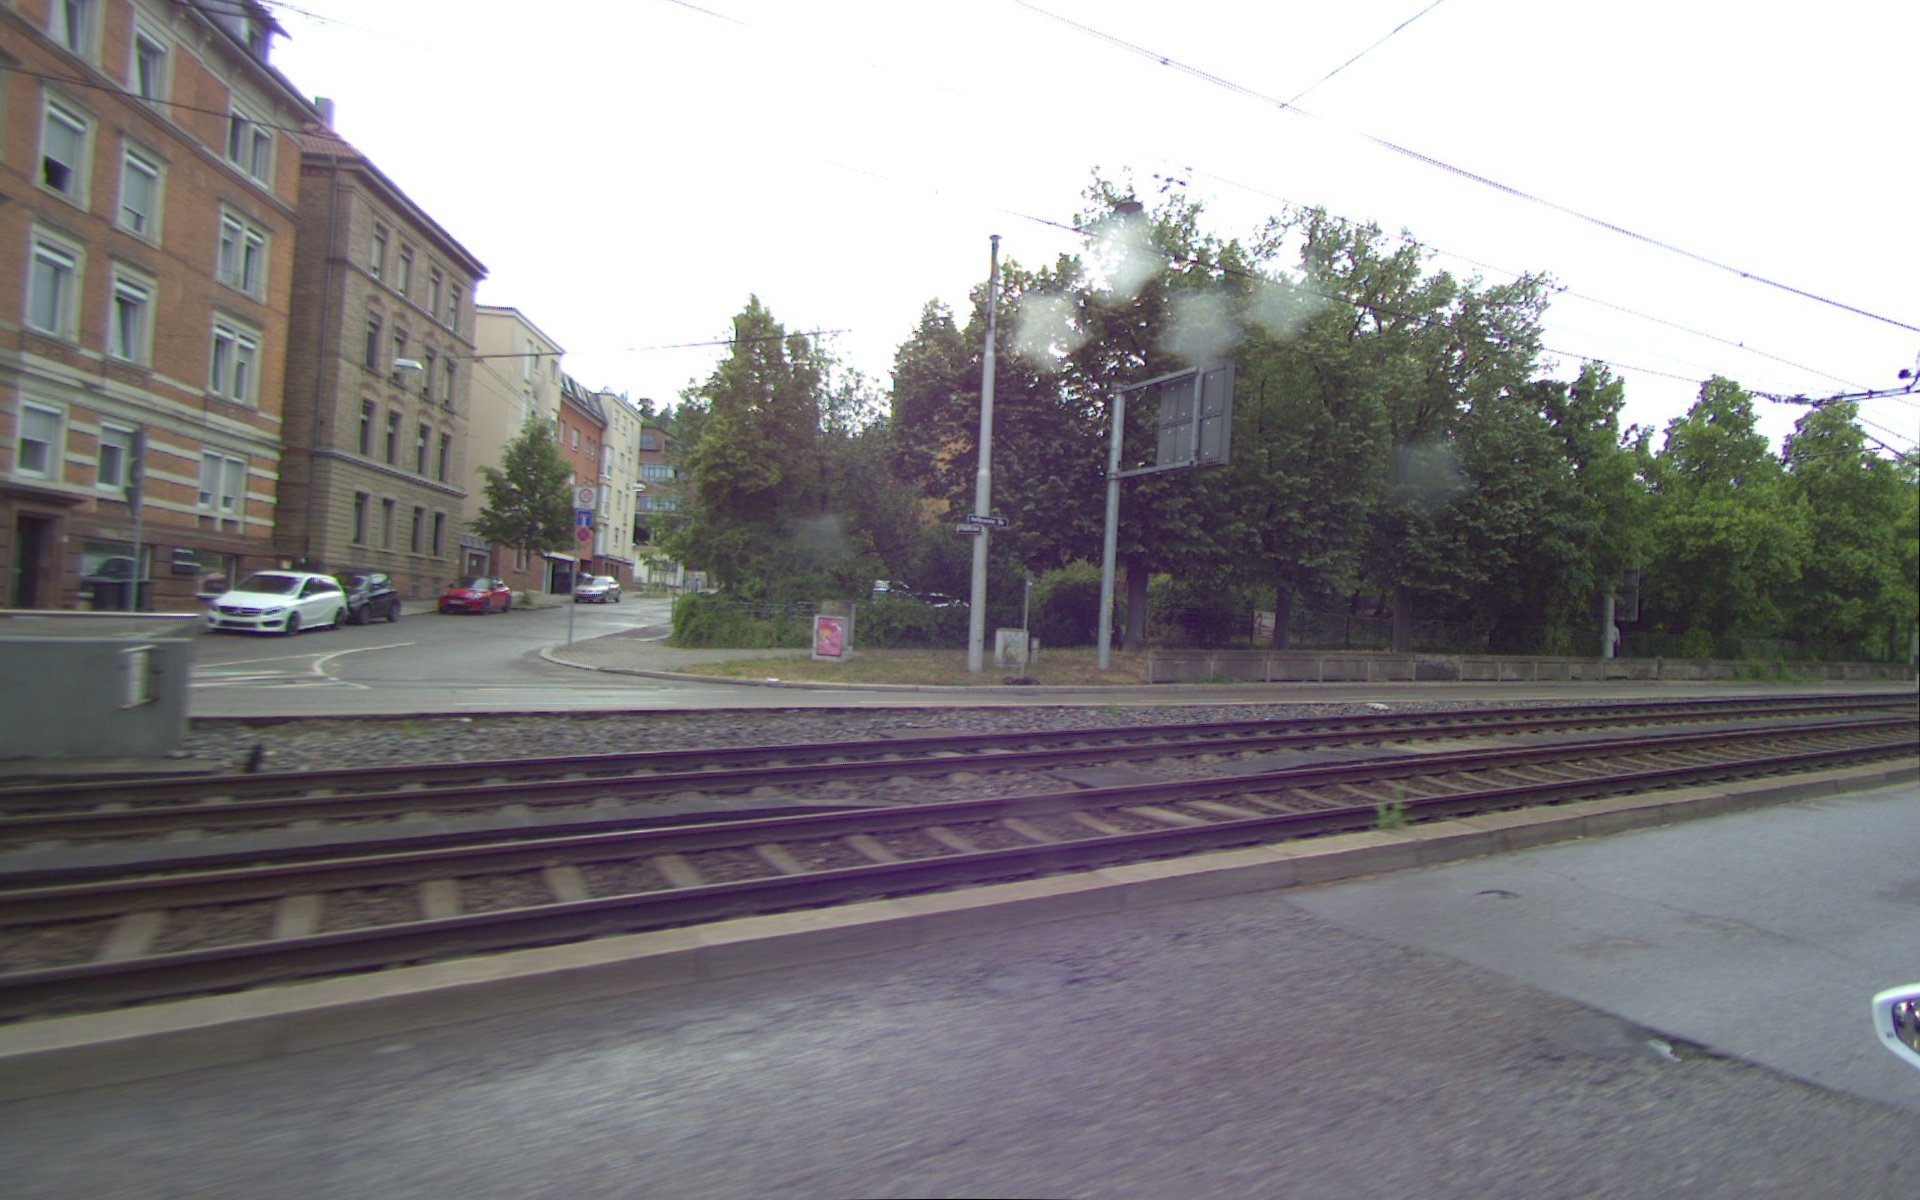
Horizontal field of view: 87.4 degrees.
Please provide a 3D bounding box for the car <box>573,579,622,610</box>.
[{"bbox_3d":[-19.973,-0.337,55.498,1.655,1.522,3.809,5,1,-7],"label":"car"}]

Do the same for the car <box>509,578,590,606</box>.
[{"bbox_3d":[-26.082,-0.497,63.934,4.415,1.530,1.799,2,0,-5],"label":"car"}]

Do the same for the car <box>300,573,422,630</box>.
[{"bbox_3d":[-18.719,0.009,31.584,1.871,1.522,3.949,5,1,-9],"label":"car"}]

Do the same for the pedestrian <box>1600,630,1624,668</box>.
[{"bbox_3d":[28.928,2.174,44.546,0.642,1.683,0.645,1,-2,-28],"label":"pedestrian"}]

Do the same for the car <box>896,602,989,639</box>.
[{"bbox_3d":[-0.685,0.803,38.928,3.285,1.293,1.457,2,0,-20],"label":"car"}]

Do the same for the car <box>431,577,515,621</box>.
[{"bbox_3d":[-19.044,-0.076,39.428,1.717,1.522,3.809,5,0,-7],"label":"car"}]

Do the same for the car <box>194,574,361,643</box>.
[{"bbox_3d":[-17.827,0.182,26.520,1.871,1.522,4.352,5,0,-9],"label":"car"}]
